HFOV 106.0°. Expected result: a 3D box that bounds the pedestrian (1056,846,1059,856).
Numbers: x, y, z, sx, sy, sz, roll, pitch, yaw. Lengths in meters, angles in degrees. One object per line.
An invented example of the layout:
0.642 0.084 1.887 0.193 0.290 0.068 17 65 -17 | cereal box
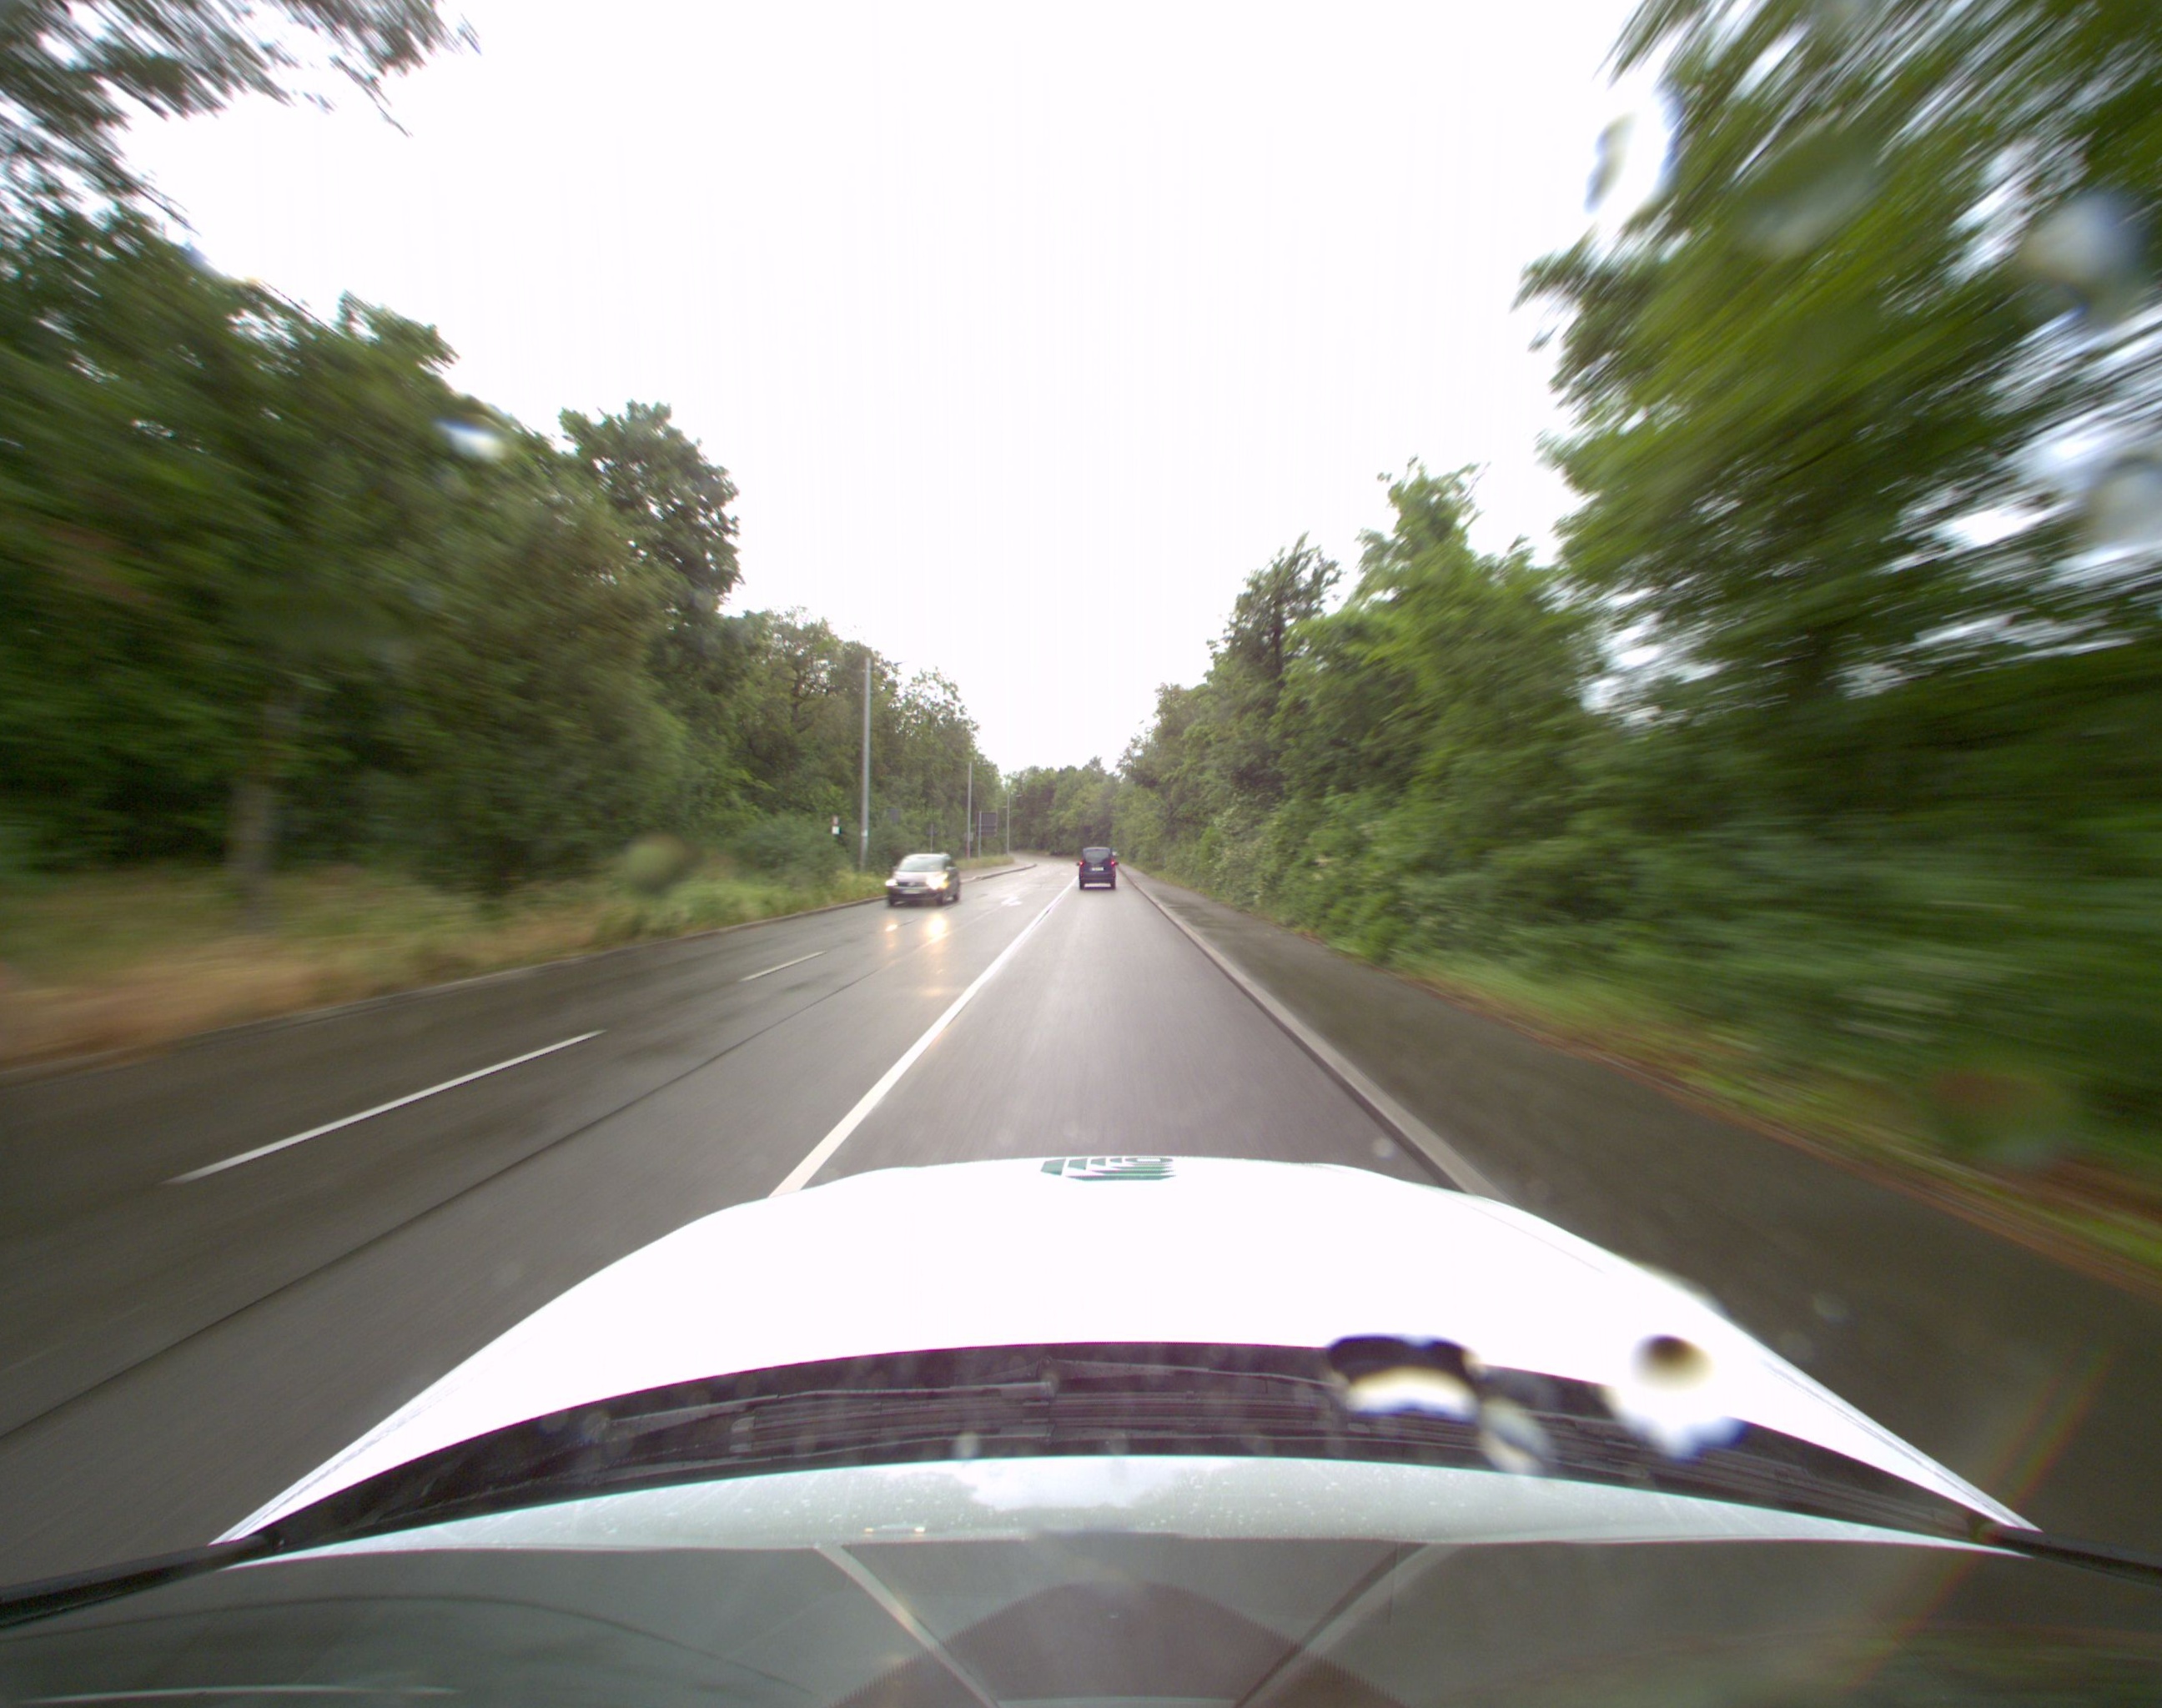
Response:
-4.437 -0.619 153.861 0.490 1.870 0.677 0 0 -12 | pedestrian

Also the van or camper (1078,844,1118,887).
0.753 0.517 37.207 1.707 1.826 4.000 1 0 0 | van or camper

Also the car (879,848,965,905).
-4.921 0.654 25.757 1.765 1.610 4.085 1 0 1 | car

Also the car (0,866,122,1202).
-5.494 0.793 1.962 1.593 1.441 3.991 -1 0 1 | car
